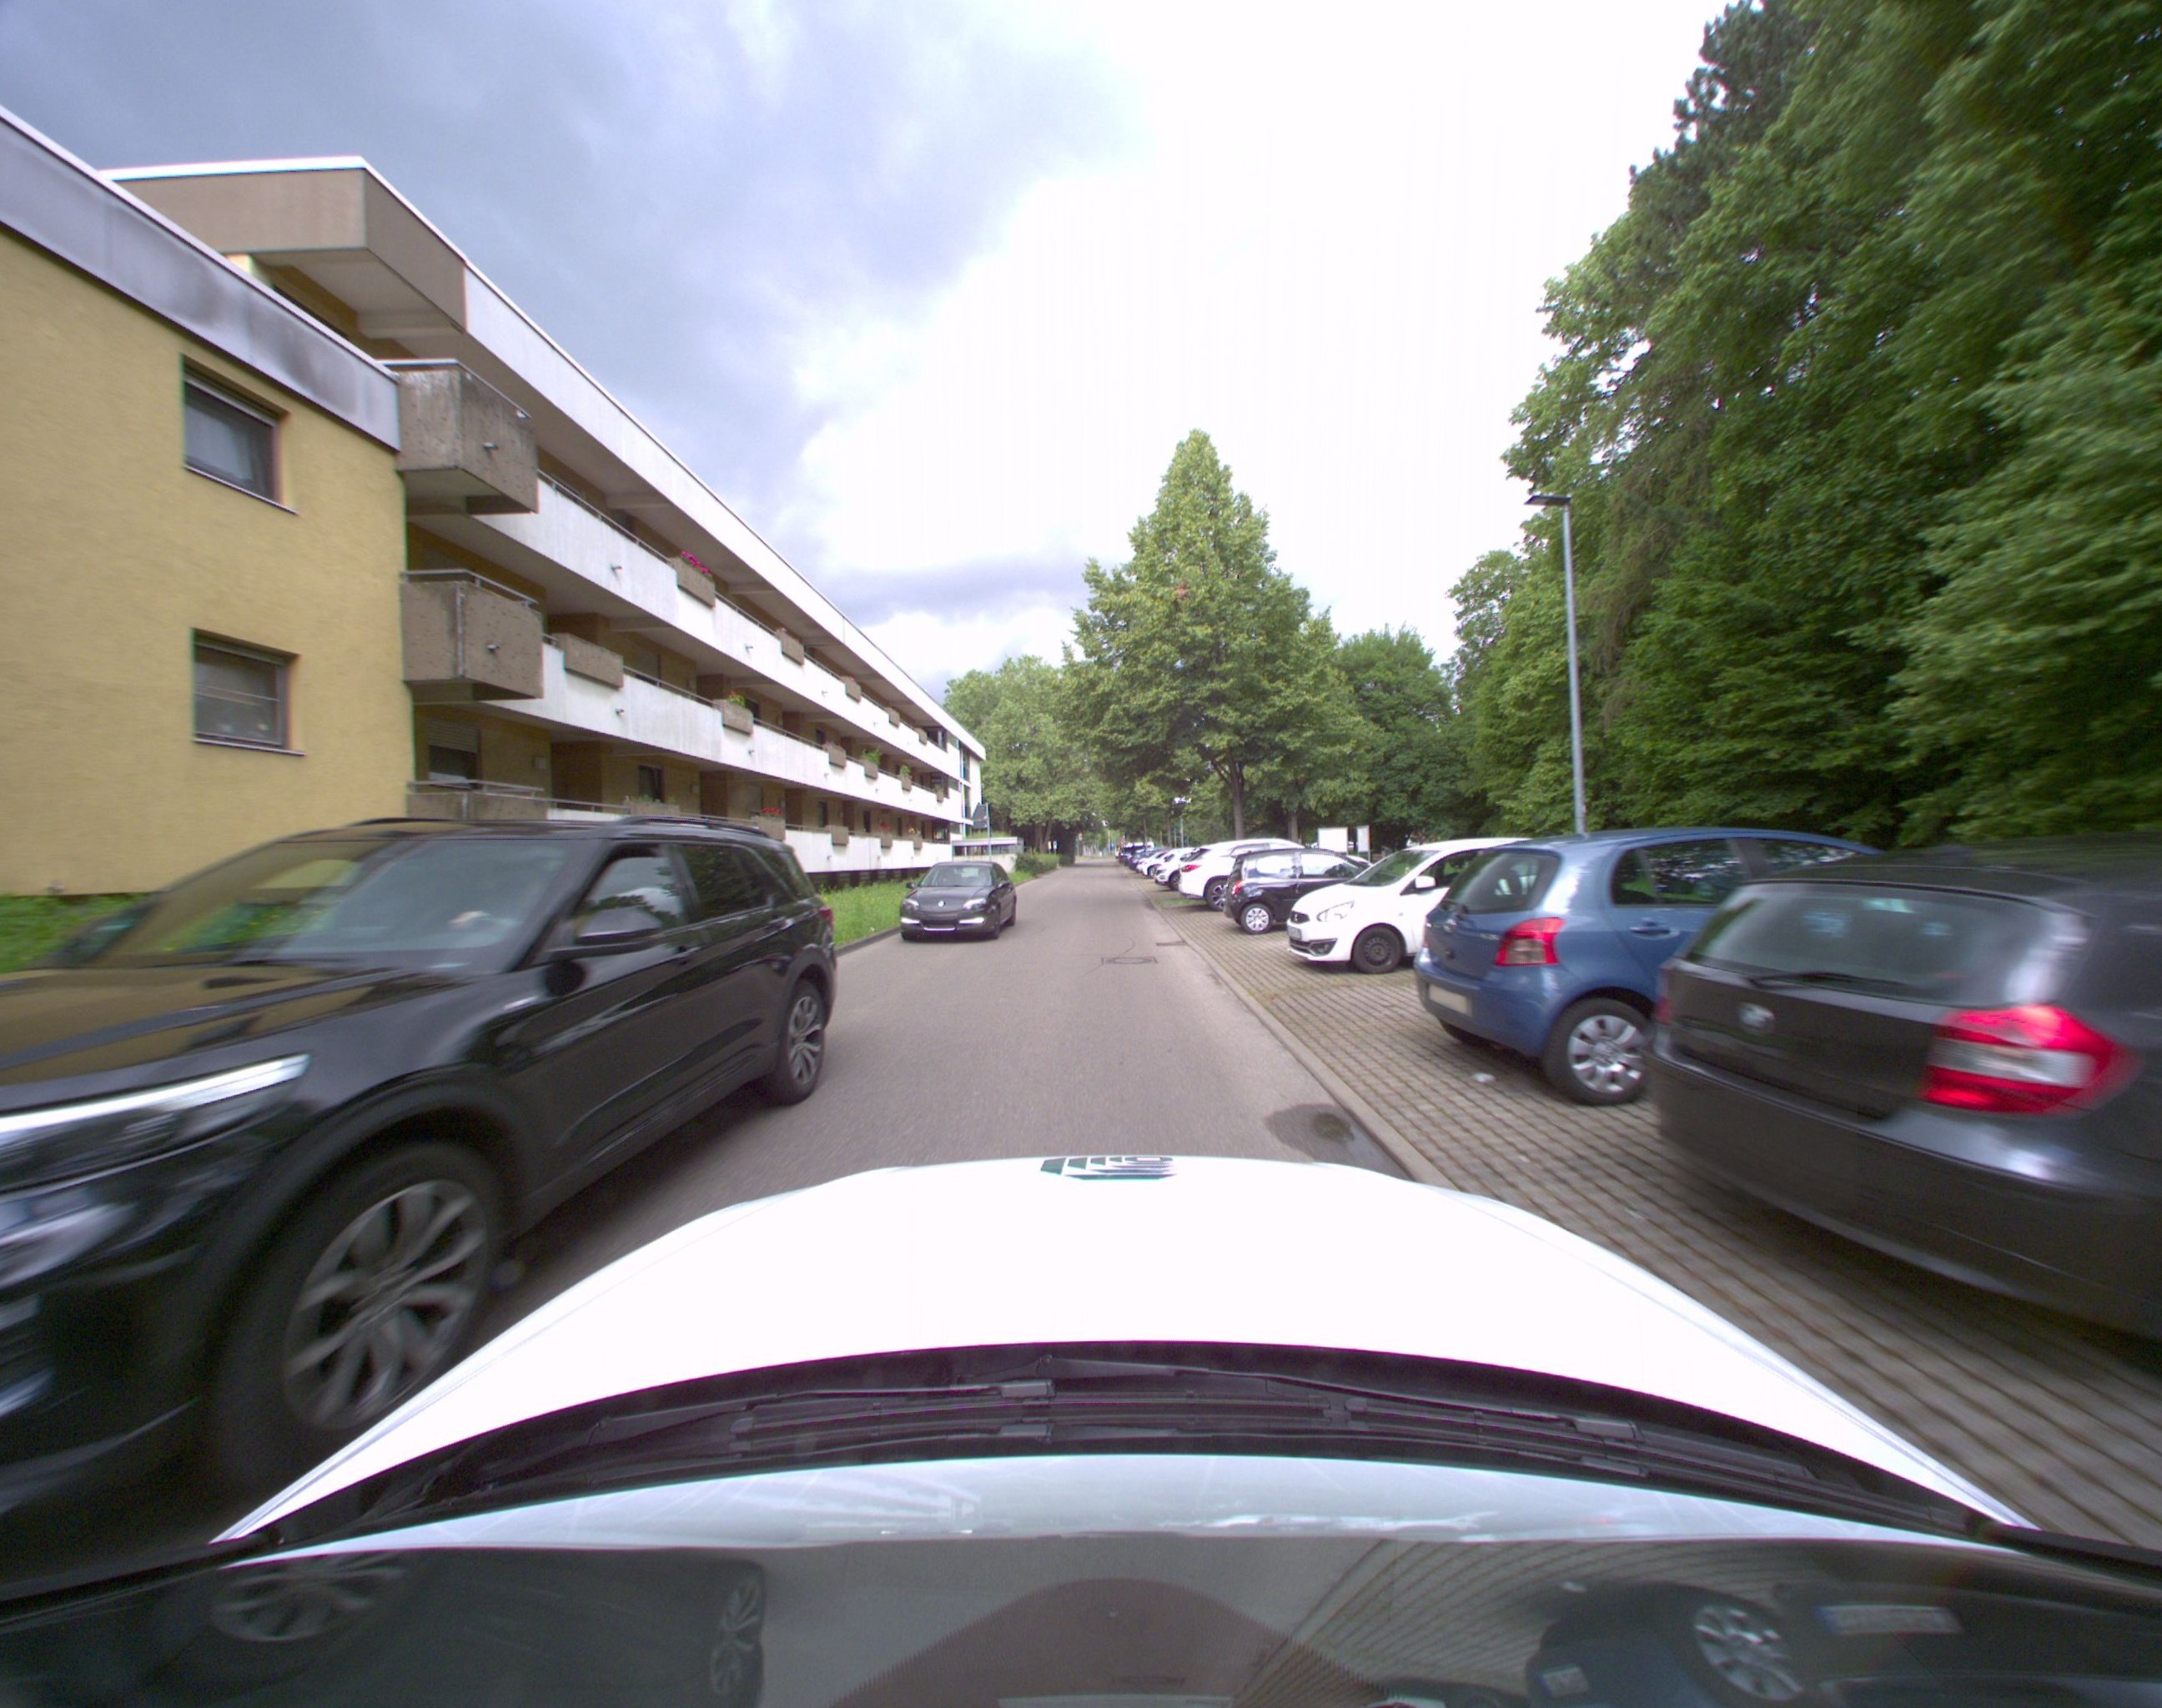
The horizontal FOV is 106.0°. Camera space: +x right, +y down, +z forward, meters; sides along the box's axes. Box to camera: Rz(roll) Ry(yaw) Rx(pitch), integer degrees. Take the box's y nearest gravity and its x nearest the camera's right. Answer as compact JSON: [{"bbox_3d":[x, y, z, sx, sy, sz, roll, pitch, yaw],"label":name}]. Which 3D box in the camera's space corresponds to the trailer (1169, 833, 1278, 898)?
[{"bbox_3d":[4.442,0.361,25.662,3.021,1.790,1.562,-4,0,-2],"label":"trailer"}]

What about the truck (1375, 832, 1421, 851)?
[{"bbox_3d":[43.599,-1.731,112.079,5.475,2.426,2.197,-2,-1,8],"label":"truck"}]

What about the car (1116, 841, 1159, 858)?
[{"bbox_3d":[8.510,-0.634,121.993,6.239,2.476,2.138,-1,0,-2],"label":"car"}]

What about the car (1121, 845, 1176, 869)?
[{"bbox_3d":[5.572,0.239,67.916,4.400,1.675,2.083,-4,0,1],"label":"car"}]

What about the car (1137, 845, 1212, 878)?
[{"bbox_3d":[4.984,0.399,43.852,3.823,1.515,1.883,-4,0,4],"label":"car"}]

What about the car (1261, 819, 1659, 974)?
[{"bbox_3d":[4.576,0.478,10.244,4.149,1.570,1.784,-3,0,-3],"label":"car"}]

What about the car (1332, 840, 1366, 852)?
[{"bbox_3d":[37.109,-1.072,112.881,4.258,1.526,1.707,-2,-1,8],"label":"car"}]

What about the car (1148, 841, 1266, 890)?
[{"bbox_3d":[4.696,0.428,30.767,4.101,1.548,1.860,-4,0,-2],"label":"car"}]

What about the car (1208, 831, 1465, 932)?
[{"bbox_3d":[4.557,0.484,15.035,4.141,1.570,1.853,-3,0,3],"label":"car"}]

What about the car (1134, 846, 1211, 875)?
[{"bbox_3d":[5.512,0.415,49.676,4.469,1.454,1.847,-4,0,1],"label":"car"}]

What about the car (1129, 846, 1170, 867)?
[{"bbox_3d":[5.894,0.170,70.518,3.366,1.574,1.797,-4,0,2],"label":"car"}]

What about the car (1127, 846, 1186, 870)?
[{"bbox_3d":[5.500,0.307,59.900,4.063,1.517,1.849,-4,0,-3],"label":"car"}]

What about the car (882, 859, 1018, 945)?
[{"bbox_3d":[-2.420,0.829,16.188,1.907,1.411,4.424,-1,0,1],"label":"car"}]

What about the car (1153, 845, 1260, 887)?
[{"bbox_3d":[5.098,0.469,33.362,4.000,1.422,1.789,-4,0,-4],"label":"car"}]

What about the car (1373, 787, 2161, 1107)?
[{"bbox_3d":[4.320,0.494,5.357,4.122,1.570,1.785,-3,0,-1],"label":"car"}]

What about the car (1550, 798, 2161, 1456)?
[{"bbox_3d":[4.153,0.527,2.757,4.073,1.464,1.785,-3,0,-1],"label":"car"}]

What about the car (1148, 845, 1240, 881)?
[{"bbox_3d":[5.273,0.428,38.489,4.041,1.422,1.816,-4,0,0],"label":"car"}]

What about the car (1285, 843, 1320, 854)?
[{"bbox_3d":[30.915,-0.749,113.776,4.403,1.428,1.707,-2,-1,8],"label":"car"}]

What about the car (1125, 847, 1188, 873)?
[{"bbox_3d":[5.056,0.393,54.777,4.057,1.456,1.852,-4,0,2],"label":"car"}]

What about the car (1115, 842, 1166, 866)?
[{"bbox_3d":[6.086,0.011,83.458,4.934,2.013,2.167,-4,0,2],"label":"car"}]

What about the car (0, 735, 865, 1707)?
[{"bbox_3d":[-2.682,0.683,3.695,1.906,1.717,5.060,-1,0,1],"label":"car"}]

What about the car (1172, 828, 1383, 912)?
[{"bbox_3d":[4.763,0.387,20.358,4.796,1.693,1.976,-4,0,4],"label":"car"}]
